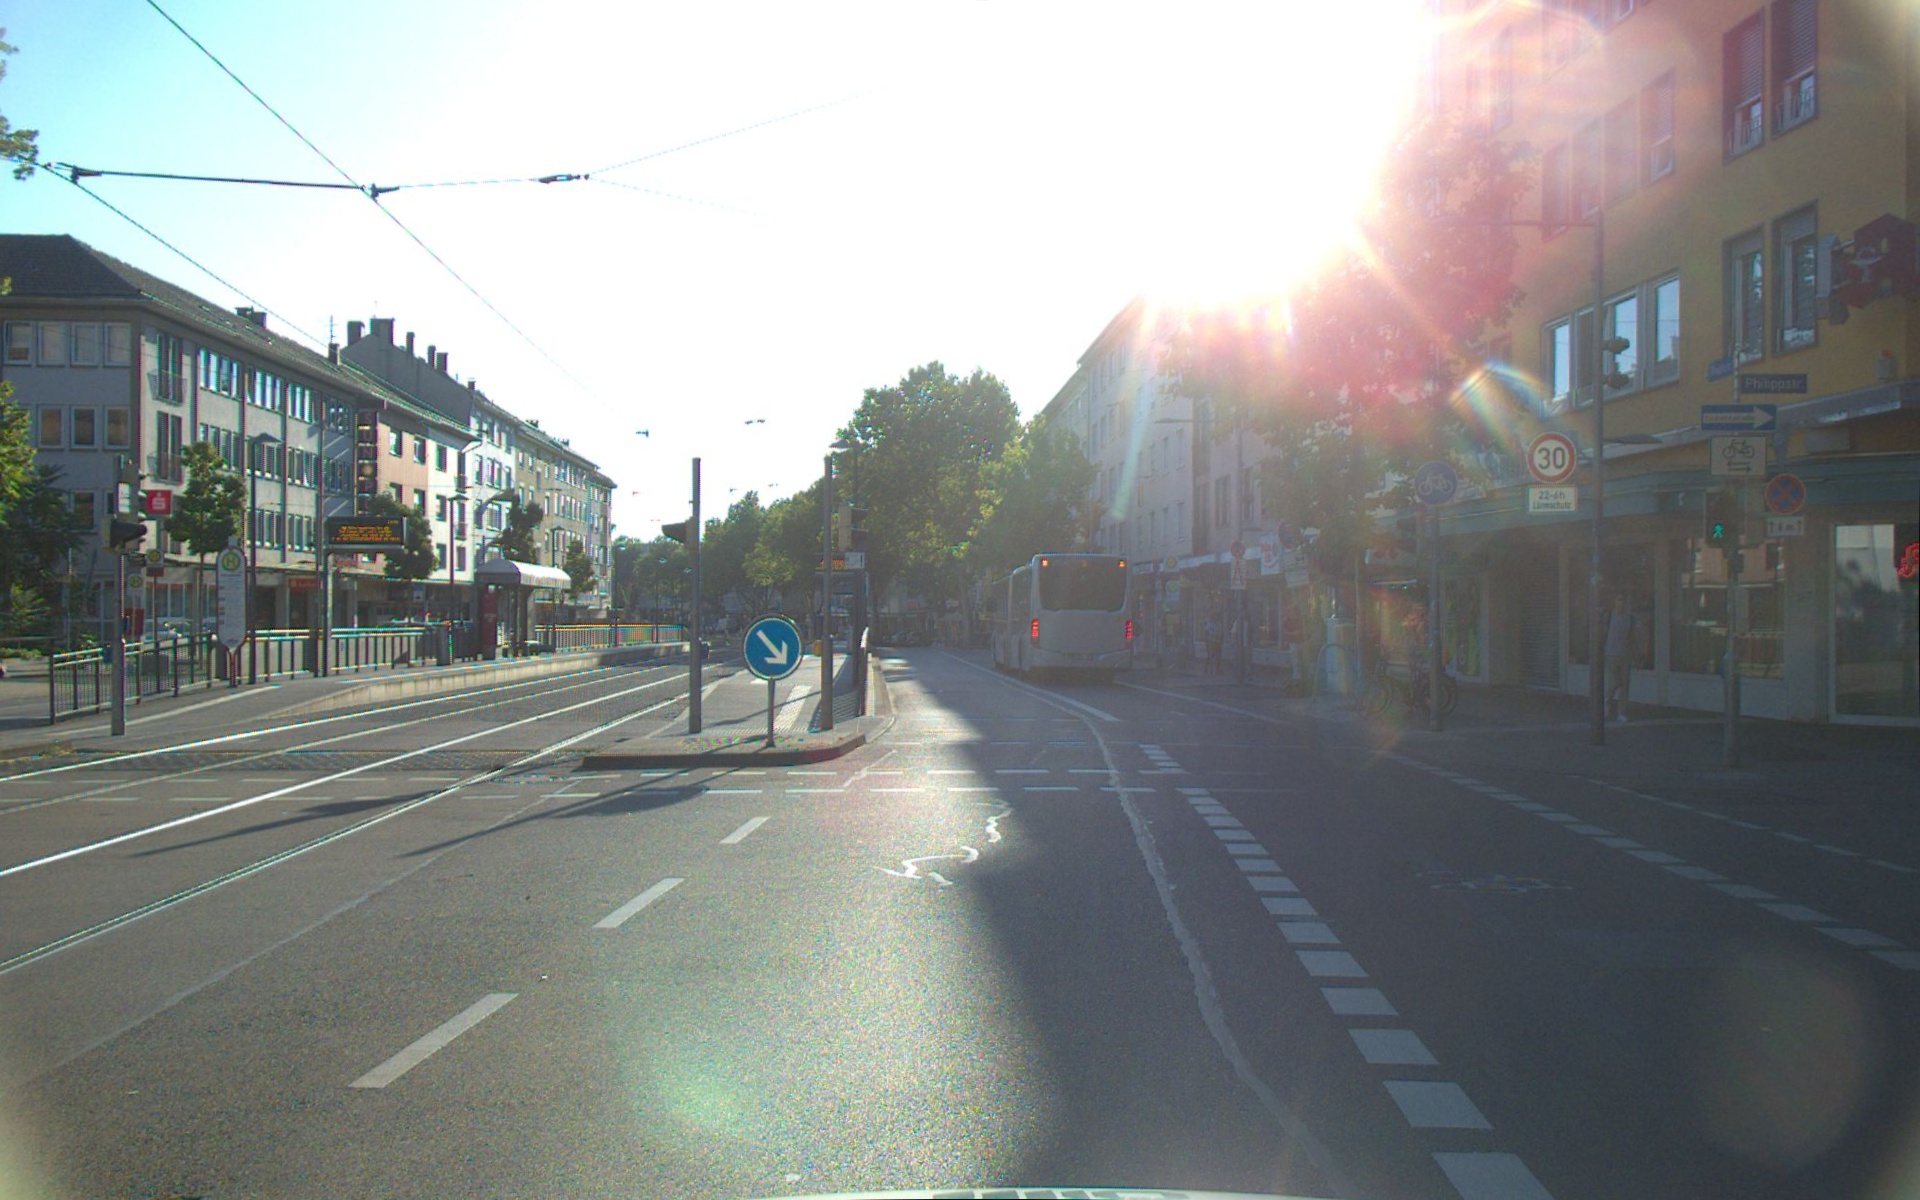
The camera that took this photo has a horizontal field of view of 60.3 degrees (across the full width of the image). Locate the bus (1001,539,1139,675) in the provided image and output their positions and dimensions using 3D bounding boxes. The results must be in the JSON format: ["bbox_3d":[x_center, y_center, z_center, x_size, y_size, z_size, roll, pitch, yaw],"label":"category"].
[{"bbox_3d":[2.719,0.234,43.829,2.642,3.173,9.376,1,-1,-2],"label":"bus"}]

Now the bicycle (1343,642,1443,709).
[{"bbox_3d":[6.760,1.169,25.858,1.454,1.026,0.453,0,-1,-6],"label":"bicycle"}]

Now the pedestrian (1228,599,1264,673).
[{"bbox_3d":[7.076,0.894,40.967,0.709,1.810,0.766,0,-1,-3],"label":"pedestrian"}]

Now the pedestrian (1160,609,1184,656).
[{"bbox_3d":[7.636,1.171,59.615,0.709,1.661,0.766,0,-1,-3],"label":"pedestrian"}]

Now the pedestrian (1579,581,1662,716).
[{"bbox_3d":[9.183,0.669,23.034,0.729,1.811,0.894,2,-1,-3],"label":"pedestrian"}]

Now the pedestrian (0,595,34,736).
[{"bbox_3d":[-12.734,0.845,21.518,0.900,1.791,0.832,0,-1,-1],"label":"pedestrian"}]

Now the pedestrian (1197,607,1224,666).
[{"bbox_3d":[6.934,0.998,45.780,0.598,1.606,0.850,0,-1,-2],"label":"pedestrian"}]

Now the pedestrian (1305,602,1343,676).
[{"bbox_3d":[8.782,0.933,39.886,0.709,1.754,0.766,0,-1,-3],"label":"pedestrian"}]

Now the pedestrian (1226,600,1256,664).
[{"bbox_3d":[8.322,0.949,49.038,0.709,1.872,0.766,0,-1,-3],"label":"pedestrian"}]

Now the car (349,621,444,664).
[{"bbox_3d":[-23.756,1.762,69.837,1.734,1.709,3.500,0,0,34],"label":"car"}]

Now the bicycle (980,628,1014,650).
[{"bbox_3d":[2.106,2.223,94.775,1.848,1.096,0.754,-4,-1,0],"label":"bicycle"}]

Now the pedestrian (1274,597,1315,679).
[{"bbox_3d":[7.513,0.849,37.181,0.709,1.838,0.766,0,-1,-3],"label":"pedestrian"}]

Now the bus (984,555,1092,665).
[{"bbox_3d":[2.364,0.350,52.992,2.642,3.173,9.065,1,-1,-2],"label":"bus"}]

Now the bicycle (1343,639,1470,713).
[{"bbox_3d":[6.800,1.150,25.204,1.763,1.026,0.540,-2,-1,-6],"label":"bicycle"}]
